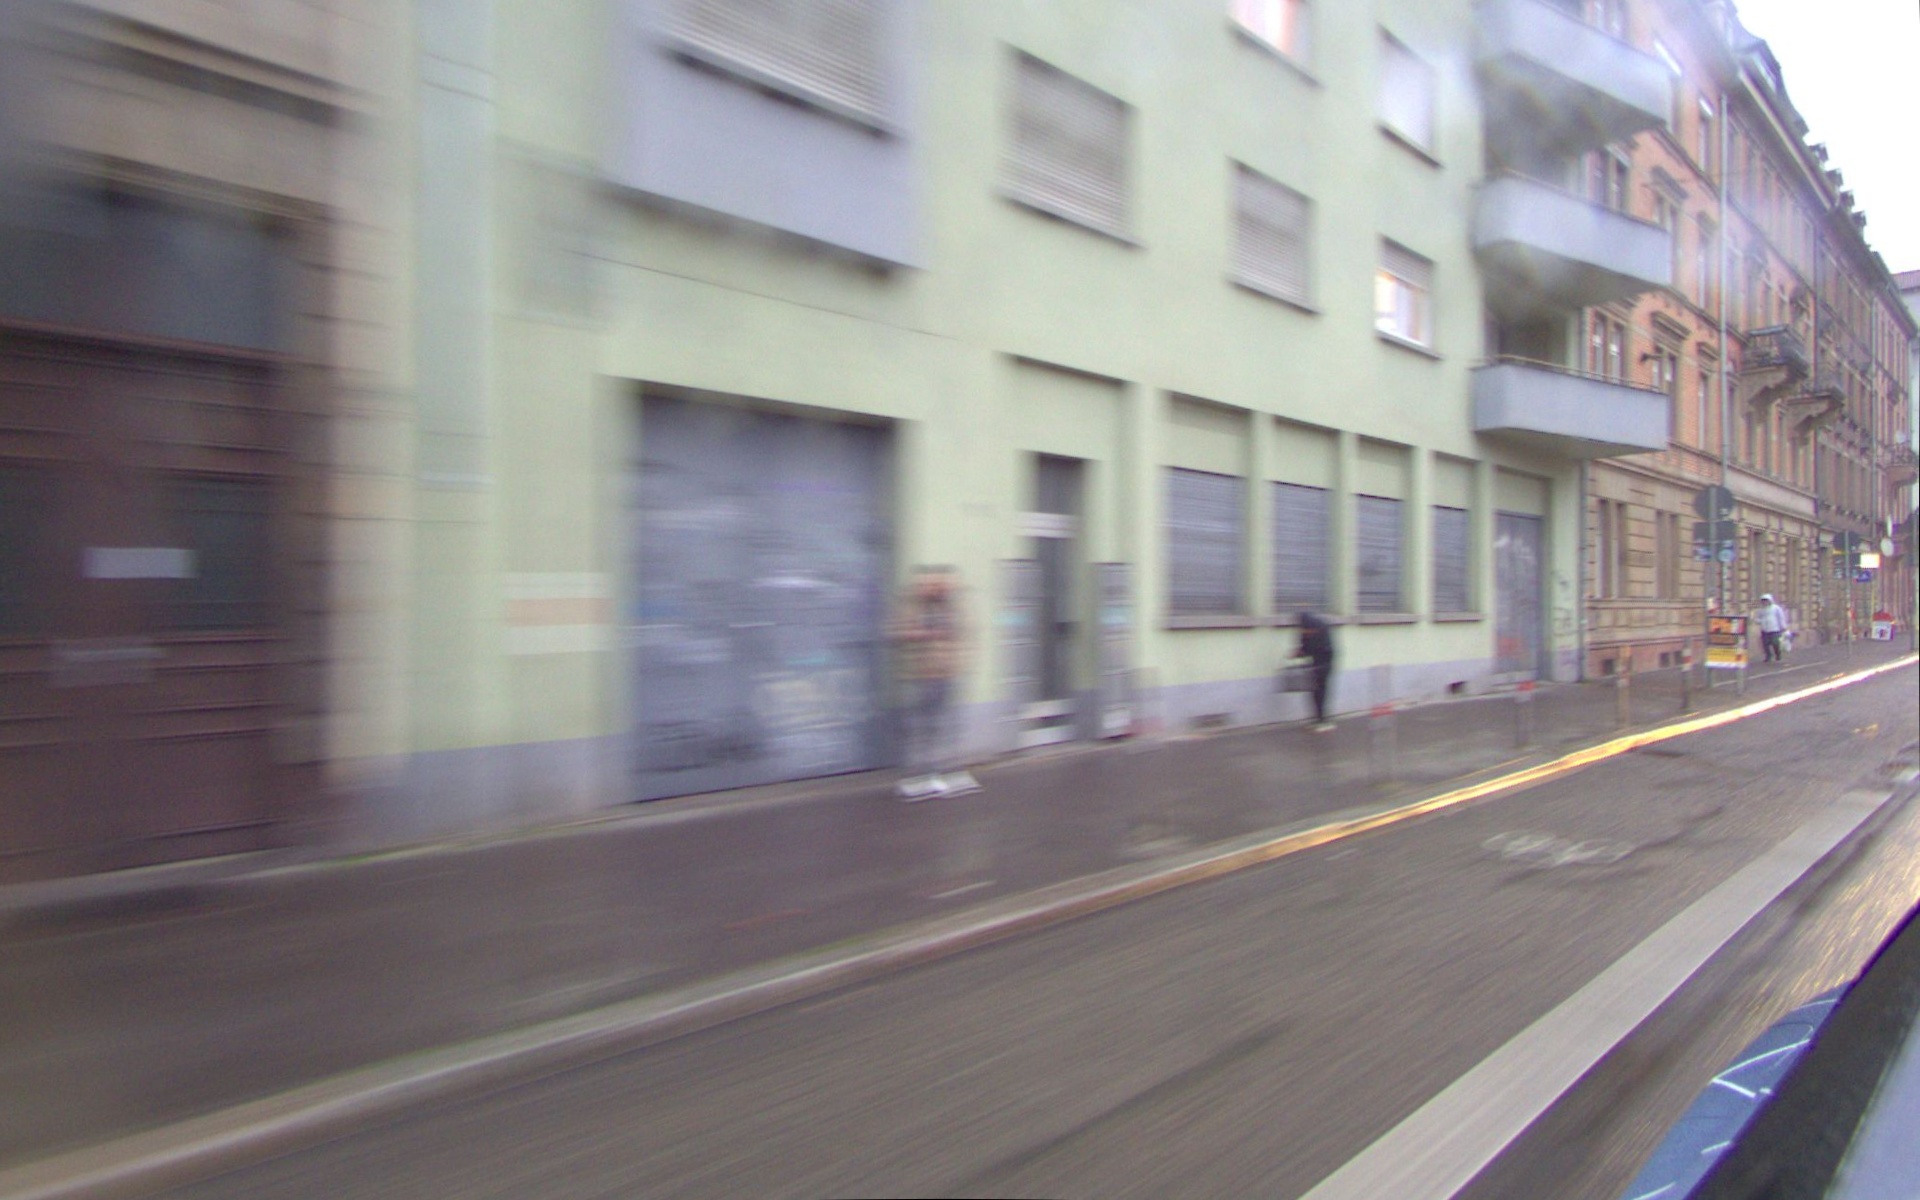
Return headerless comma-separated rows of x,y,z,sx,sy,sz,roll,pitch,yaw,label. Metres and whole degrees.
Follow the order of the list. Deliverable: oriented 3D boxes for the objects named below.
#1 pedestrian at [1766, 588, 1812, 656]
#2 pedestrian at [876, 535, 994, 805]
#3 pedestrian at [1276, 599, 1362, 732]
20.161,0.529,24.612,0.729,1.617,0.787,0,0,-42,pedestrian
-0.166,0.478,7.375,0.593,1.841,0.770,-1,0,22,pedestrian
3.957,0.695,11.156,0.716,1.394,0.601,0,0,-41,pedestrian
